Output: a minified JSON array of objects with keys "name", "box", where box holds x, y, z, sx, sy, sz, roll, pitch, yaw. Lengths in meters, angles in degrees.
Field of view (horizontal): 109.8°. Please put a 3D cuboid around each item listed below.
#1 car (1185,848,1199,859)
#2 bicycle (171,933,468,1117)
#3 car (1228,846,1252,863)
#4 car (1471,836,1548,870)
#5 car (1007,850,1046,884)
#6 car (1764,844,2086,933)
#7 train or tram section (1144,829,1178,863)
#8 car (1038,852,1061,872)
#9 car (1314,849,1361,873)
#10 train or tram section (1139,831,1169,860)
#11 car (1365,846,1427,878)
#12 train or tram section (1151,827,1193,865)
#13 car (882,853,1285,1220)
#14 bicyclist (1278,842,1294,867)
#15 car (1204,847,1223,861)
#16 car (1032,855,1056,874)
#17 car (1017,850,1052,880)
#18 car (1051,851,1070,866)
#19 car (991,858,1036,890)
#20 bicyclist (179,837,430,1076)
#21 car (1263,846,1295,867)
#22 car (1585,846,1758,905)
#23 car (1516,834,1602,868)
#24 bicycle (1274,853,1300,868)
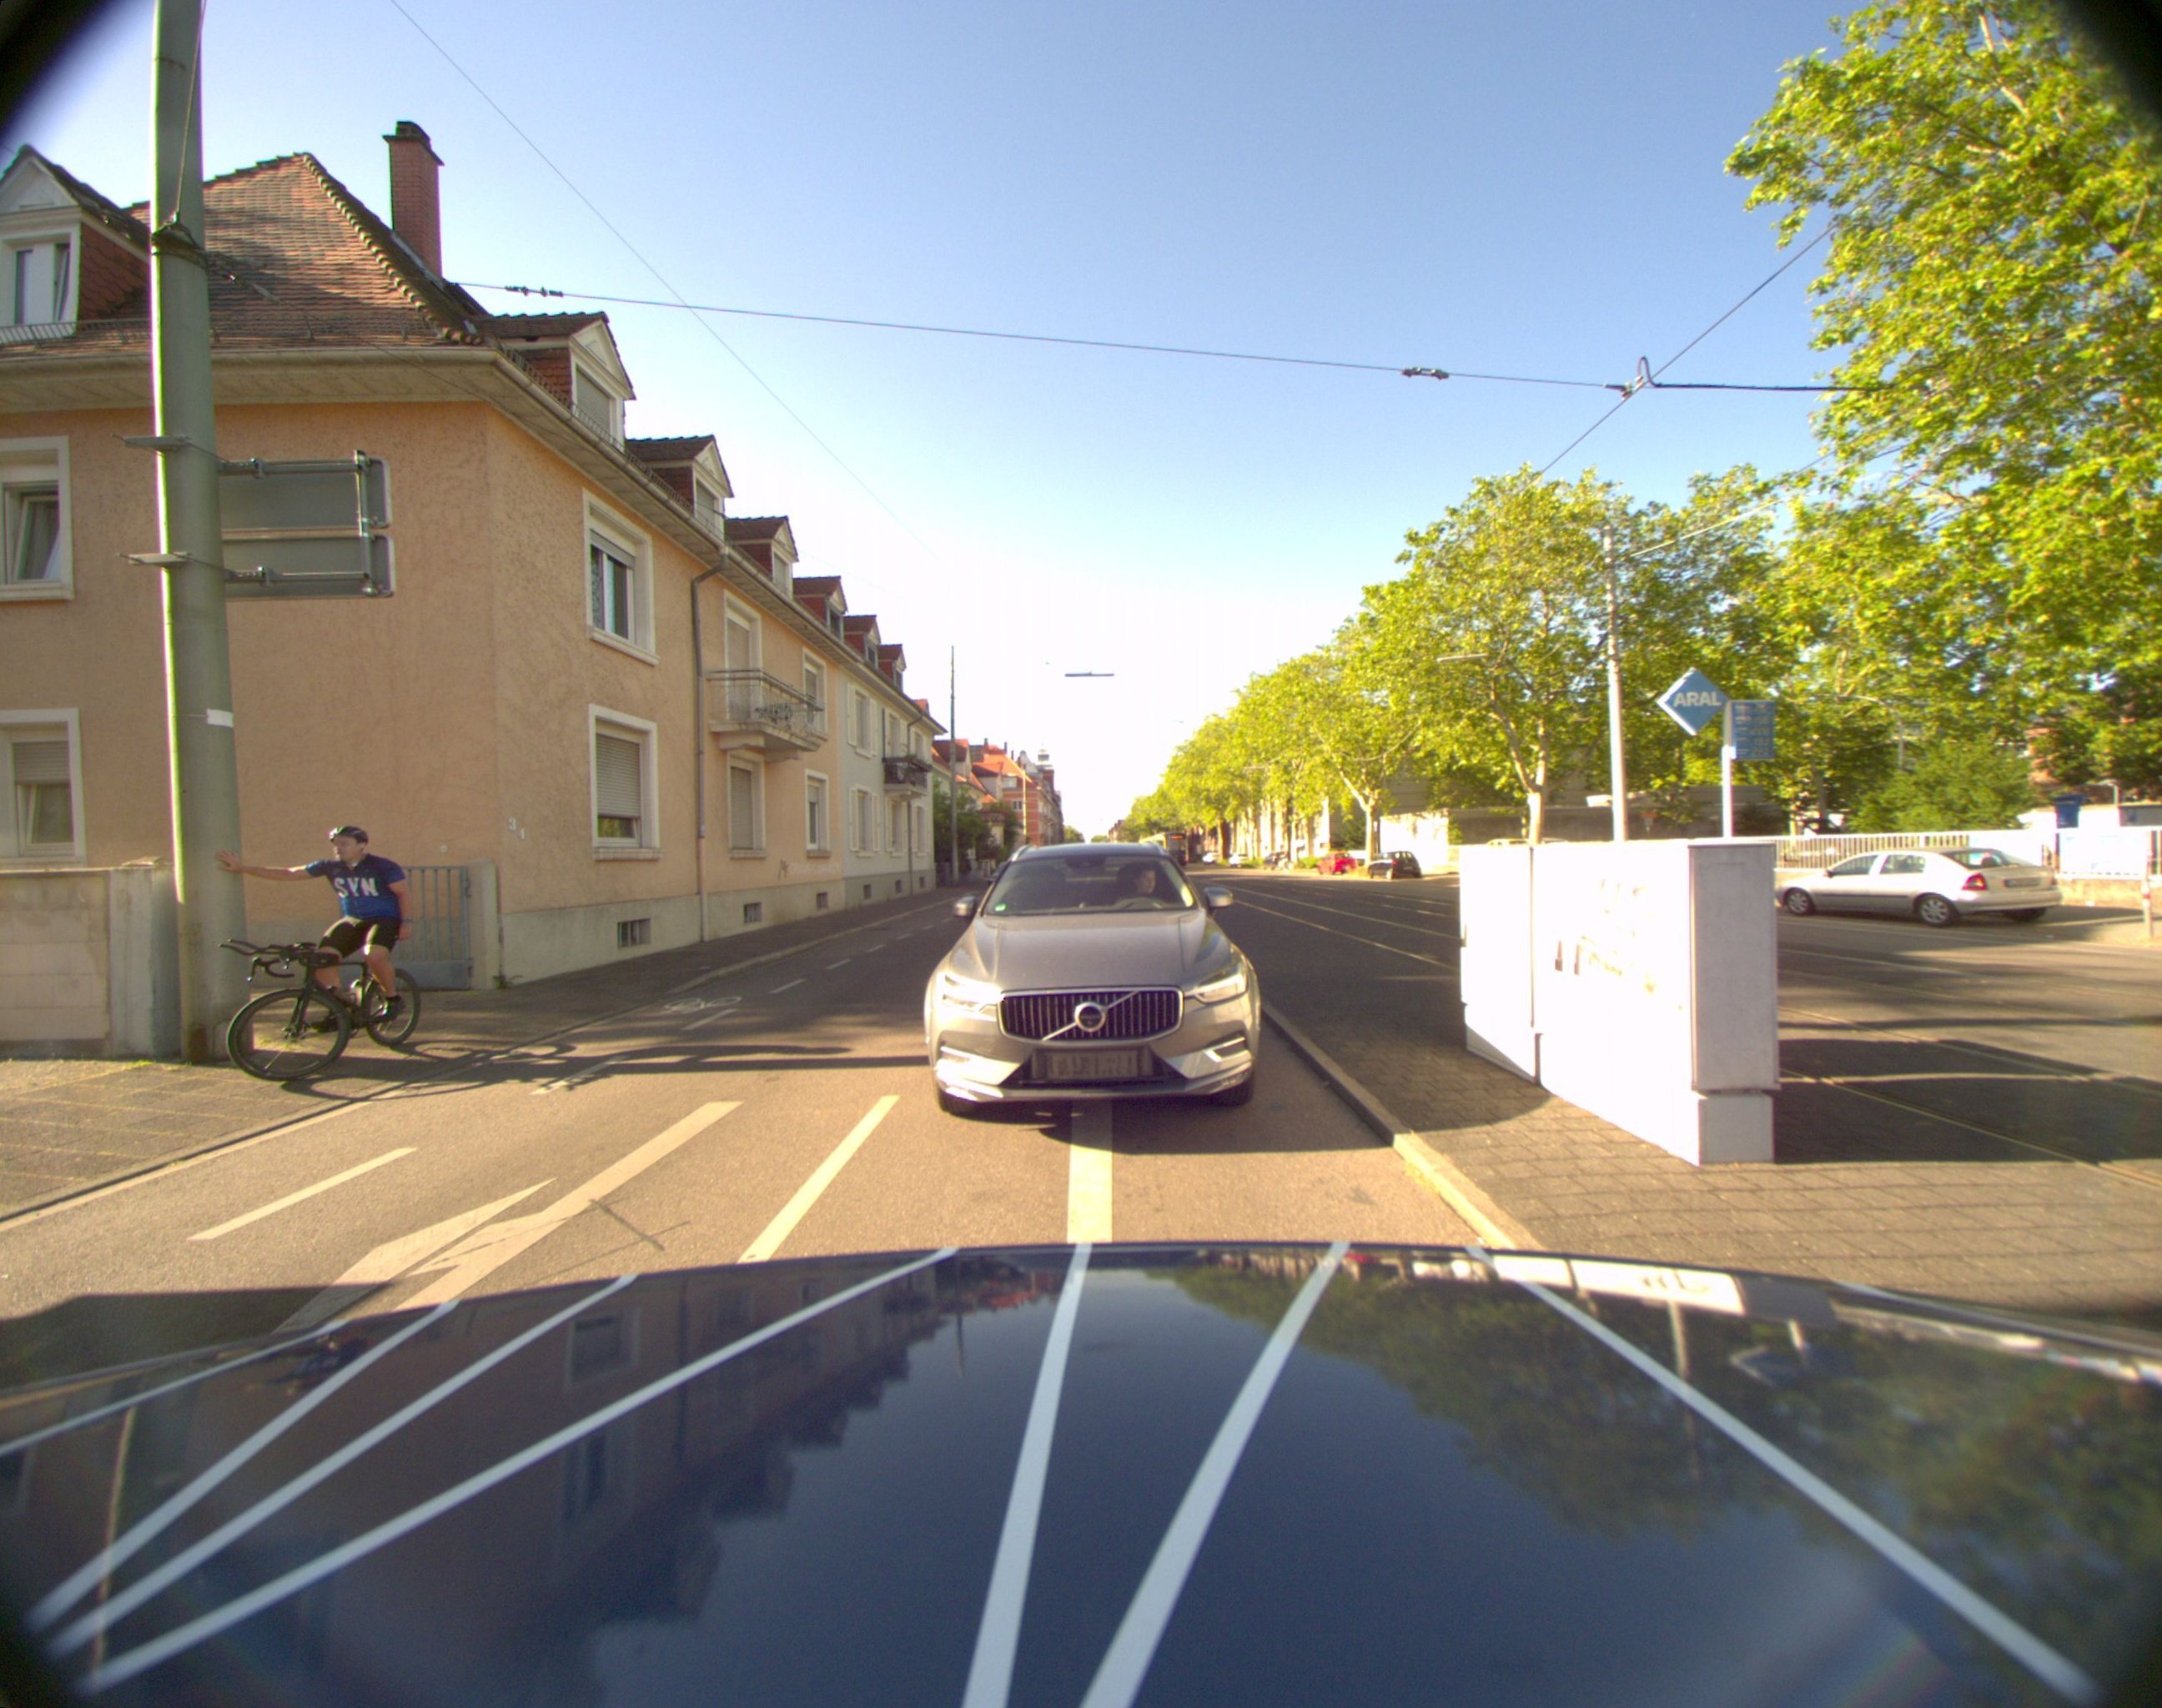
[{"name":"car","box":[18.328,-0.067,125.417,1.845,1.664,4.098,-4,0,3]},{"name":"bicycle","box":[-5.937,1.264,6.088,0.594,1.045,1.719,4,1,1]},{"name":"car","box":[17.461,0.069,83.551,1.845,1.664,4.098,-4,0,3]},{"name":"car","box":[21.732,-0.066,38.723,1.845,1.524,4.001,-4,0,4]},{"name":"car","box":[-2.981,0.662,42.285,1.847,1.742,4.144,-1,0,0]},{"name":"car","box":[16.225,0.588,14.984,1.846,1.400,3.999,-4,0,-1]},{"name":"train or tram section","box":[8.958,-0.939,85.767,2.843,3.456,10.182,-2,1,1]},{"name":"car","box":[-2.699,0.664,65.772,1.847,1.681,4.000,-1,0,0]},{"name":"car","box":[16.942,0.407,50.319,1.845,1.400,4.000,-4,0,3]},{"name":"train or tram section","box":[9.142,-1.072,95.976,2.843,3.456,10.182,-2,1,1]},{"name":"car","box":[16.949,0.372,41.094,1.845,1.524,4.001,-4,0,4]},{"name":"train or tram section","box":[8.893,-0.802,75.610,2.862,3.456,10.181,-2,1,0]},{"name":"car","box":[-0.007,0.873,5.791,1.892,1.695,4.318,-1,0,-1]},{"name":"bicyclist","box":[15.892,0.032,58.917,0.721,1.853,1.069,-2,1,-19]},{"name":"car","box":[17.561,0.023,100.914,1.845,1.664,4.098,-4,0,3]},{"name":"car","box":[-2.901,0.831,60.408,1.808,1.402,3.999,-1,0,-1]},{"name":"car","box":[-2.811,0.639,46.712,1.847,1.681,4.000,-1,0,0]},{"name":"car","box":[-2.273,0.514,85.486,1.999,1.641,4.658,-1,0,-1]},{"name":"car","box":[-3.245,0.924,36.979,1.847,1.412,3.999,-1,0,-1]},{"name":"bicyclist","box":[-6.180,0.767,6.114,1.071,1.728,0.853,4,1,1]},{"name":"car","box":[17.144,0.181,65.903,1.845,1.607,4.098,-4,0,3]},{"name":"car","box":[16.505,0.537,21.557,1.845,1.400,4.138,-4,0,4]},{"name":"car","box":[24.026,-0.151,38.346,1.845,1.524,4.000,-4,0,2]},{"name":"bicycle","box":[15.974,0.465,58.897,0.655,1.114,2.529,-1,0,-18]}]
